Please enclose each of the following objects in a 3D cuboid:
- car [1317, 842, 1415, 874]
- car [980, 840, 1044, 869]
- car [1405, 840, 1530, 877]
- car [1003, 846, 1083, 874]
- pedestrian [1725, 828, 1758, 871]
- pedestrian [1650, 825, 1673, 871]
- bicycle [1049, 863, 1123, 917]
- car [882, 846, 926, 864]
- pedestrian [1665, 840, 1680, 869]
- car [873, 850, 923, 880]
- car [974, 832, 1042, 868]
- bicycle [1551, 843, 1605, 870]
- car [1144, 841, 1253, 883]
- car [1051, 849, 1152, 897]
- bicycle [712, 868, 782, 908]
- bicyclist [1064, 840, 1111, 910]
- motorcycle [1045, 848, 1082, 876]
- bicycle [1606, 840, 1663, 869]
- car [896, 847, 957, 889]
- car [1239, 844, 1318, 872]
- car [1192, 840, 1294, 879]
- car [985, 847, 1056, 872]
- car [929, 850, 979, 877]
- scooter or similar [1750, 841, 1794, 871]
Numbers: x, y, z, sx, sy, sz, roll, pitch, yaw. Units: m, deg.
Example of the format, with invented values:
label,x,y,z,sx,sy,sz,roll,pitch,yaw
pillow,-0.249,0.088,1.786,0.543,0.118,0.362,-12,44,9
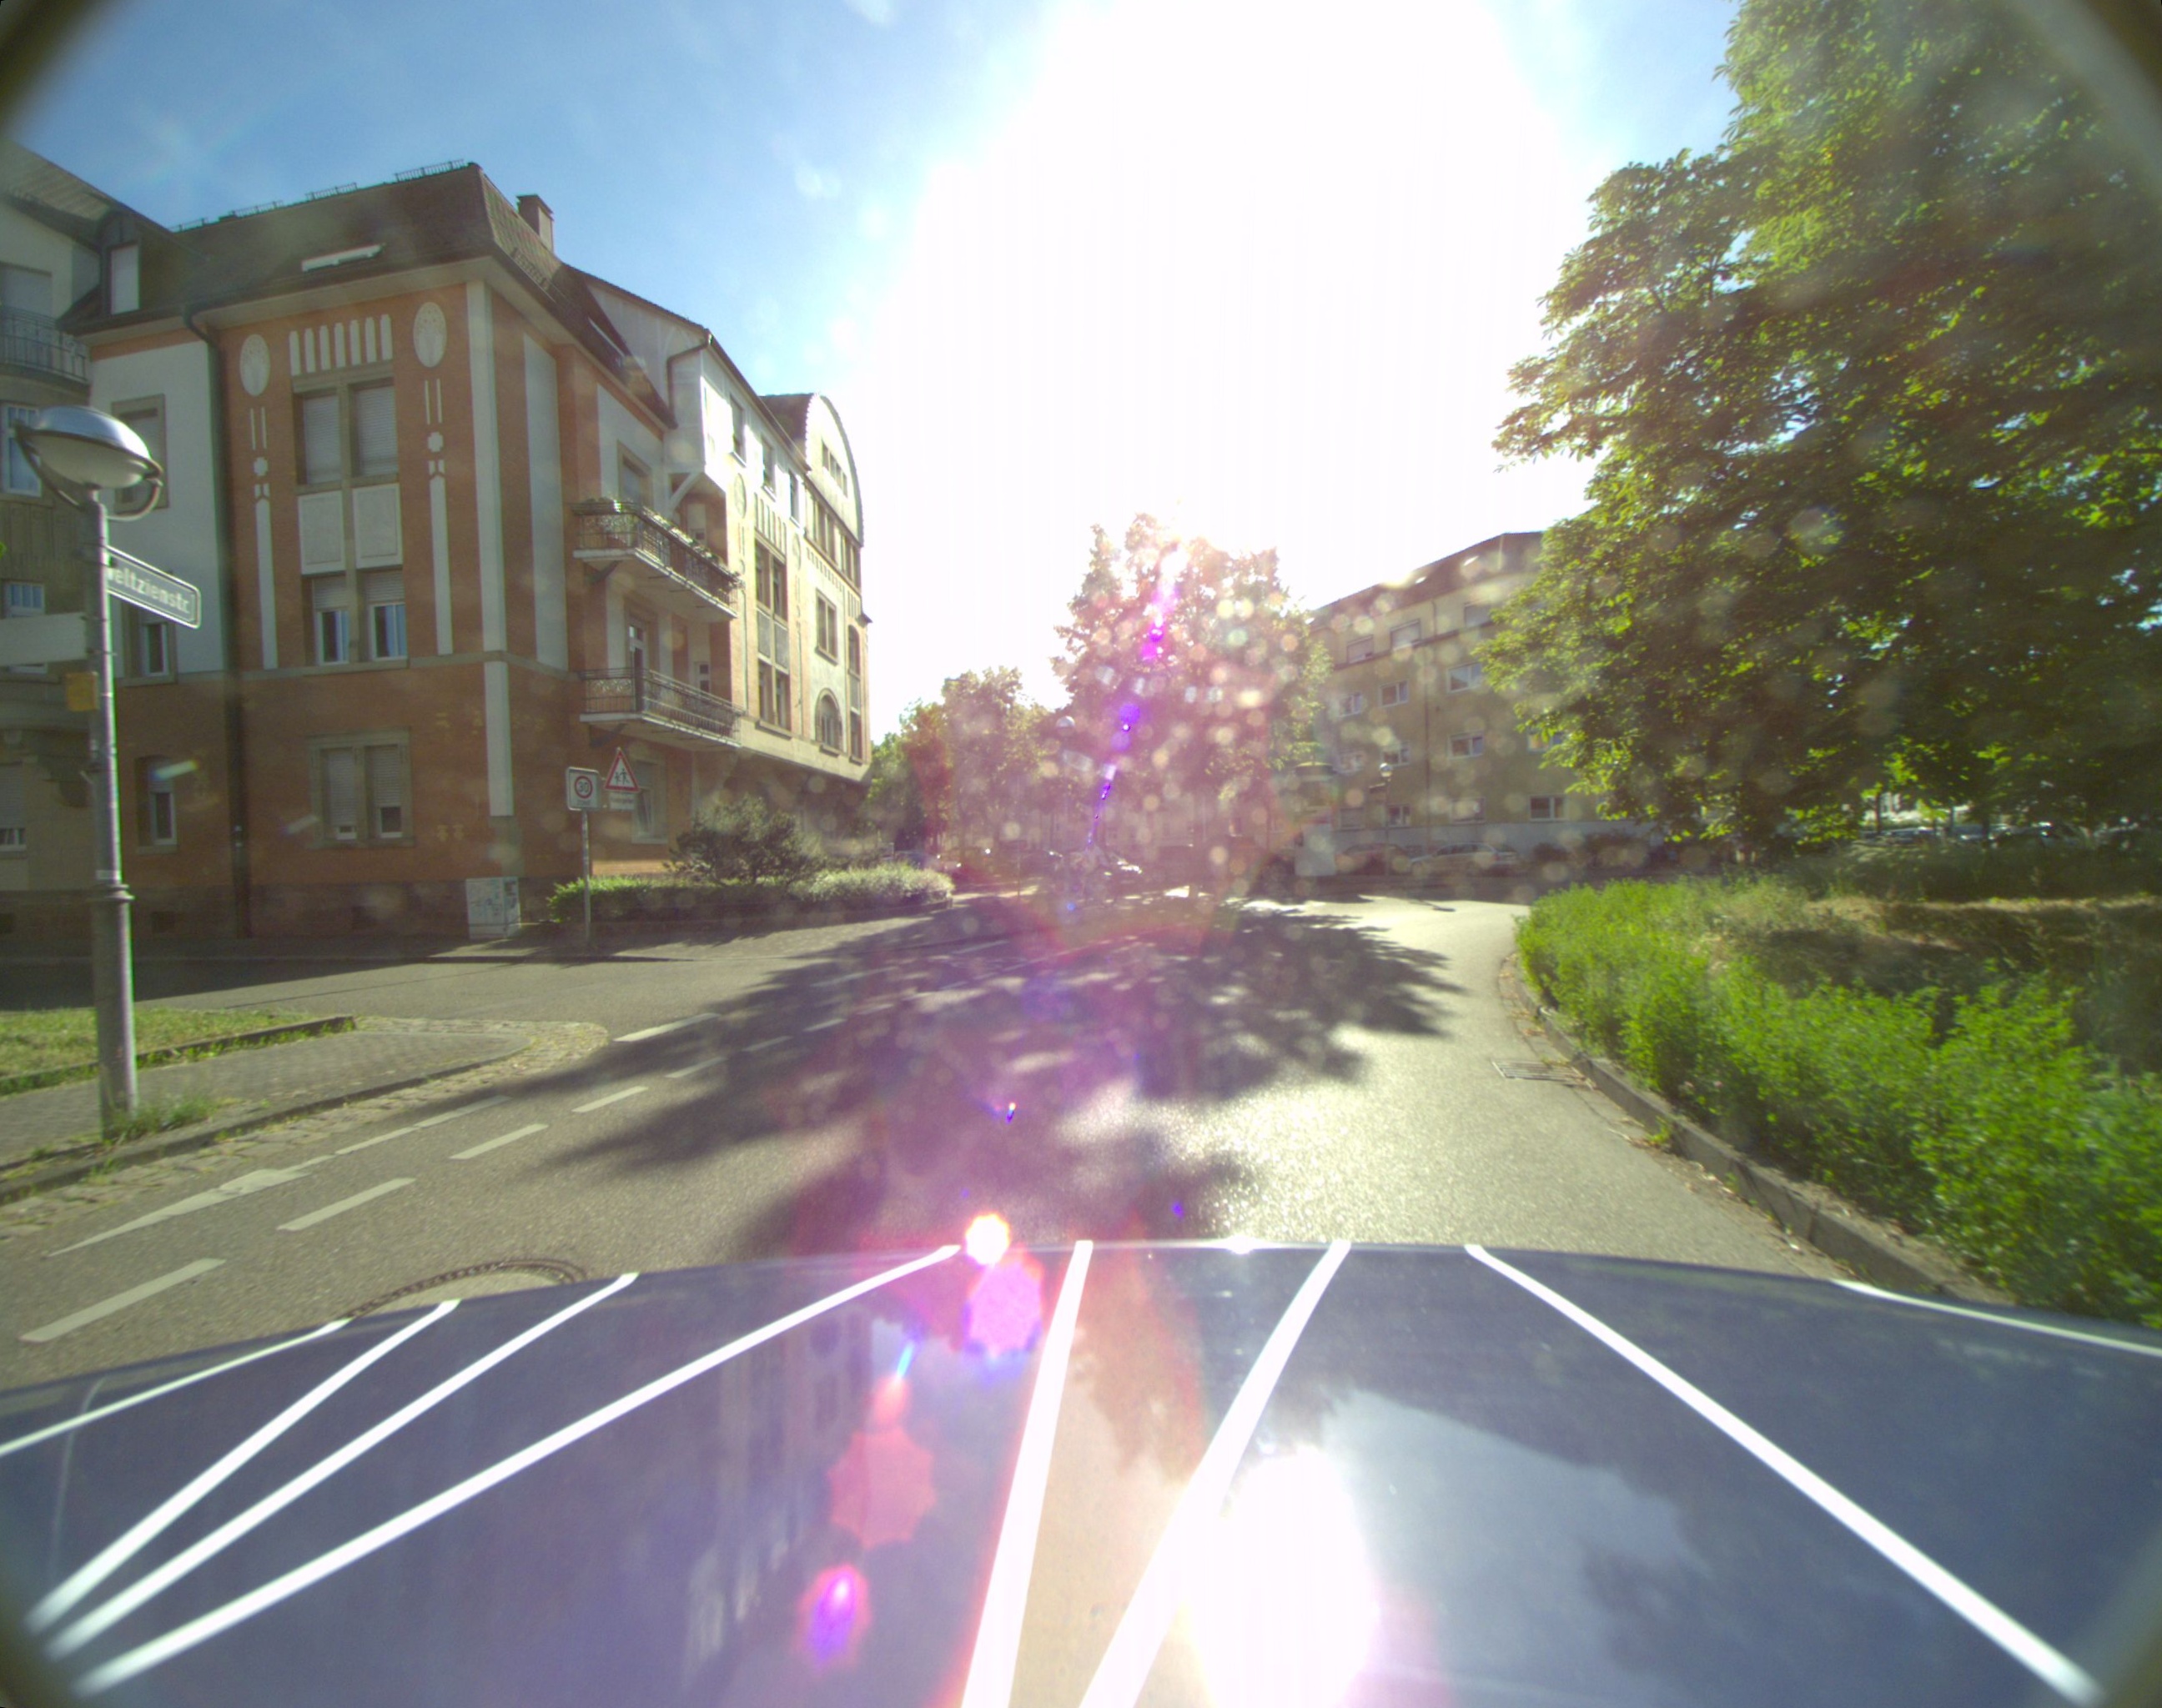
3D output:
label,x,y,z,sx,sy,sz,roll,pitch,yaw
car,13.588,0.186,36.498,1.737,1.430,4.378,-2,1,-27
car,-4.754,0.059,52.660,3.993,1.887,1.825,-1,1,11
car,16.040,0.196,31.755,1.735,1.403,4.480,-2,1,-27
car,-2.051,0.332,41.632,3.993,1.433,1.825,-1,1,11
pedestrian,23.658,-0.163,27.219,0.696,1.515,0.651,-1,1,21
pedestrian,21.821,-0.231,28.560,0.607,1.684,0.555,-2,4,40
bicycle,0.151,0.866,18.934,0.763,1.191,1.873,-1,1,41
car,-17.870,0.114,76.733,3.998,1.677,1.823,-2,1,-2
pedestrian,22.407,0.025,28.759,0.405,1.034,0.377,-2,4,40
car,-10.256,0.593,42.396,1.800,1.445,4.200,-4,1,-25
car,-5.388,-0.314,56.228,4.588,2.476,1.987,-1,1,7
bicycle,20.578,0.107,31.462,0.501,1.101,1.795,-2,1,-37
car,4.598,0.306,29.521,3.993,1.464,1.761,-1,1,13
car,0.620,0.619,26.537,1.800,1.427,4.200,-3,1,-25
bicycle,-9.144,0.928,20.831,1.673,1.065,0.500,-1,1,2
bicyclist,0.159,0.502,18.926,0.763,1.686,0.814,-1,2,41
motorcycle,-0.858,0.388,38.313,1.803,1.340,0.726,-2,1,-45
bicycle,22.058,0.019,30.291,1.795,1.101,0.501,-1,1,38
car,-7.456,0.631,36.390,1.800,1.757,4.200,-4,2,-25
car,10.823,0.228,41.911,1.737,1.430,4.378,-2,1,-27
car,6.686,0.215,31.513,3.993,1.464,1.761,-1,1,12
car,-3.771,0.313,47.508,3.993,1.445,1.825,-1,1,11
car,-7.555,0.566,44.887,1.800,1.427,4.200,-3,1,-25
scooter or similar,24.433,0.055,26.881,0.897,1.017,0.919,-2,1,22
